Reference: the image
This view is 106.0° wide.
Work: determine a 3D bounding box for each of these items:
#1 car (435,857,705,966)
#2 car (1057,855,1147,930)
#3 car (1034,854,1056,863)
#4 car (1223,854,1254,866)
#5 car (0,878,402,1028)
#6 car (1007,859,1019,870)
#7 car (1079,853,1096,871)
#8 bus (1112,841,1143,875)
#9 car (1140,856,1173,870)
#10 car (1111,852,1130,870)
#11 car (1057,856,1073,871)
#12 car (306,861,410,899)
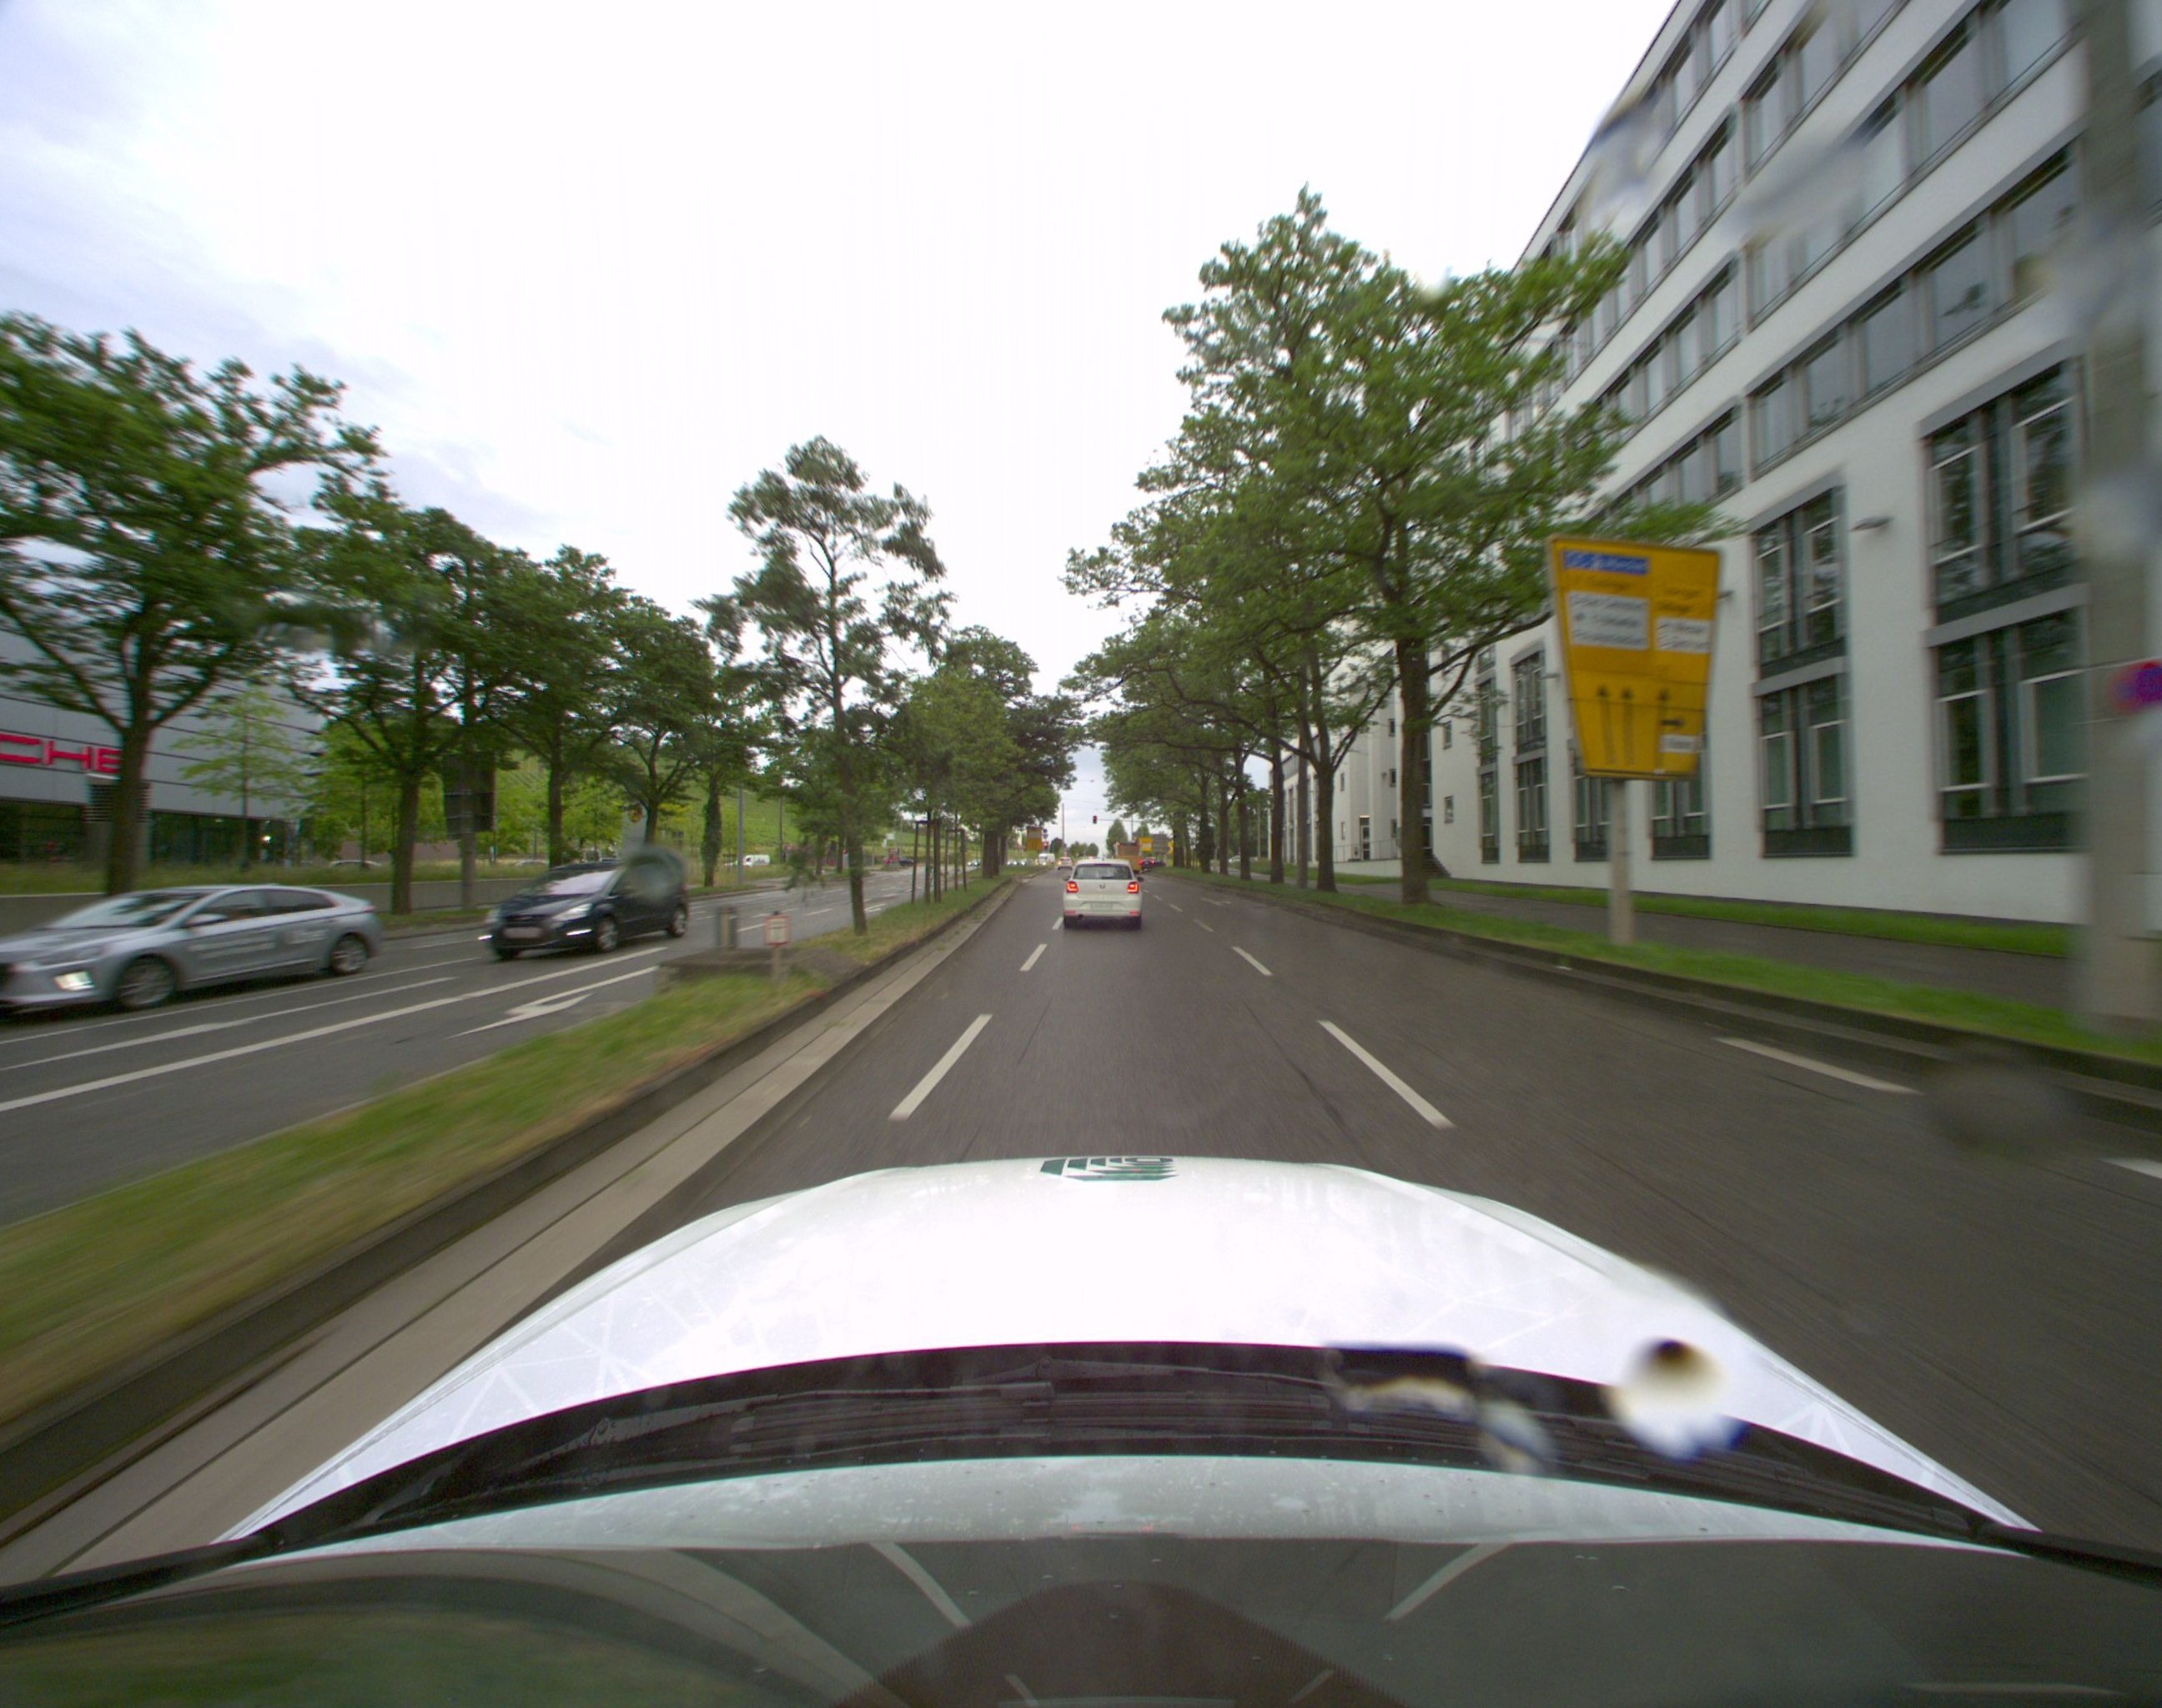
[{"bbox_3d":[-9.200,0.907,15.353,1.989,1.616,5.115,-2,0,-3],"label":"car"},{"bbox_3d":[0.403,0.779,18.443,1.789,1.502,3.998,1,0,-1],"label":"car"},{"bbox_3d":[-7.687,0.968,175.448,1.975,2.013,5.745,-1,0,28],"label":"car"},{"bbox_3d":[22.548,0.866,116.347,3.952,1.536,2.011,-1,0,21],"label":"car"},{"bbox_3d":[-11.851,1.129,10.805,1.809,1.411,4.652,-2,0,-2],"label":"car"},{"bbox_3d":[-12.651,1.913,151.443,1.989,2.014,3.995,0,-2,-3],"label":"car"},{"bbox_3d":[0.793,0.915,95.276,1.986,2.014,4.000,-1,-1,1],"label":"car"},{"bbox_3d":[4.645,0.427,82.832,2.818,3.267,10.002,0,0,1],"label":"bus"},{"bbox_3d":[8.775,1.025,94.741,3.849,1.515,1.679,0,-2,-44],"label":"car"},{"bbox_3d":[4.432,0.828,91.529,1.986,2.014,4.000,-1,-1,1],"label":"car"},{"bbox_3d":[-1.913,1.107,96.878,1.788,1.741,3.999,-2,-1,0],"label":"car"},{"bbox_3d":[-41.491,1.466,46.848,3.999,2.013,1.987,-1,0,-19],"label":"car"}]
